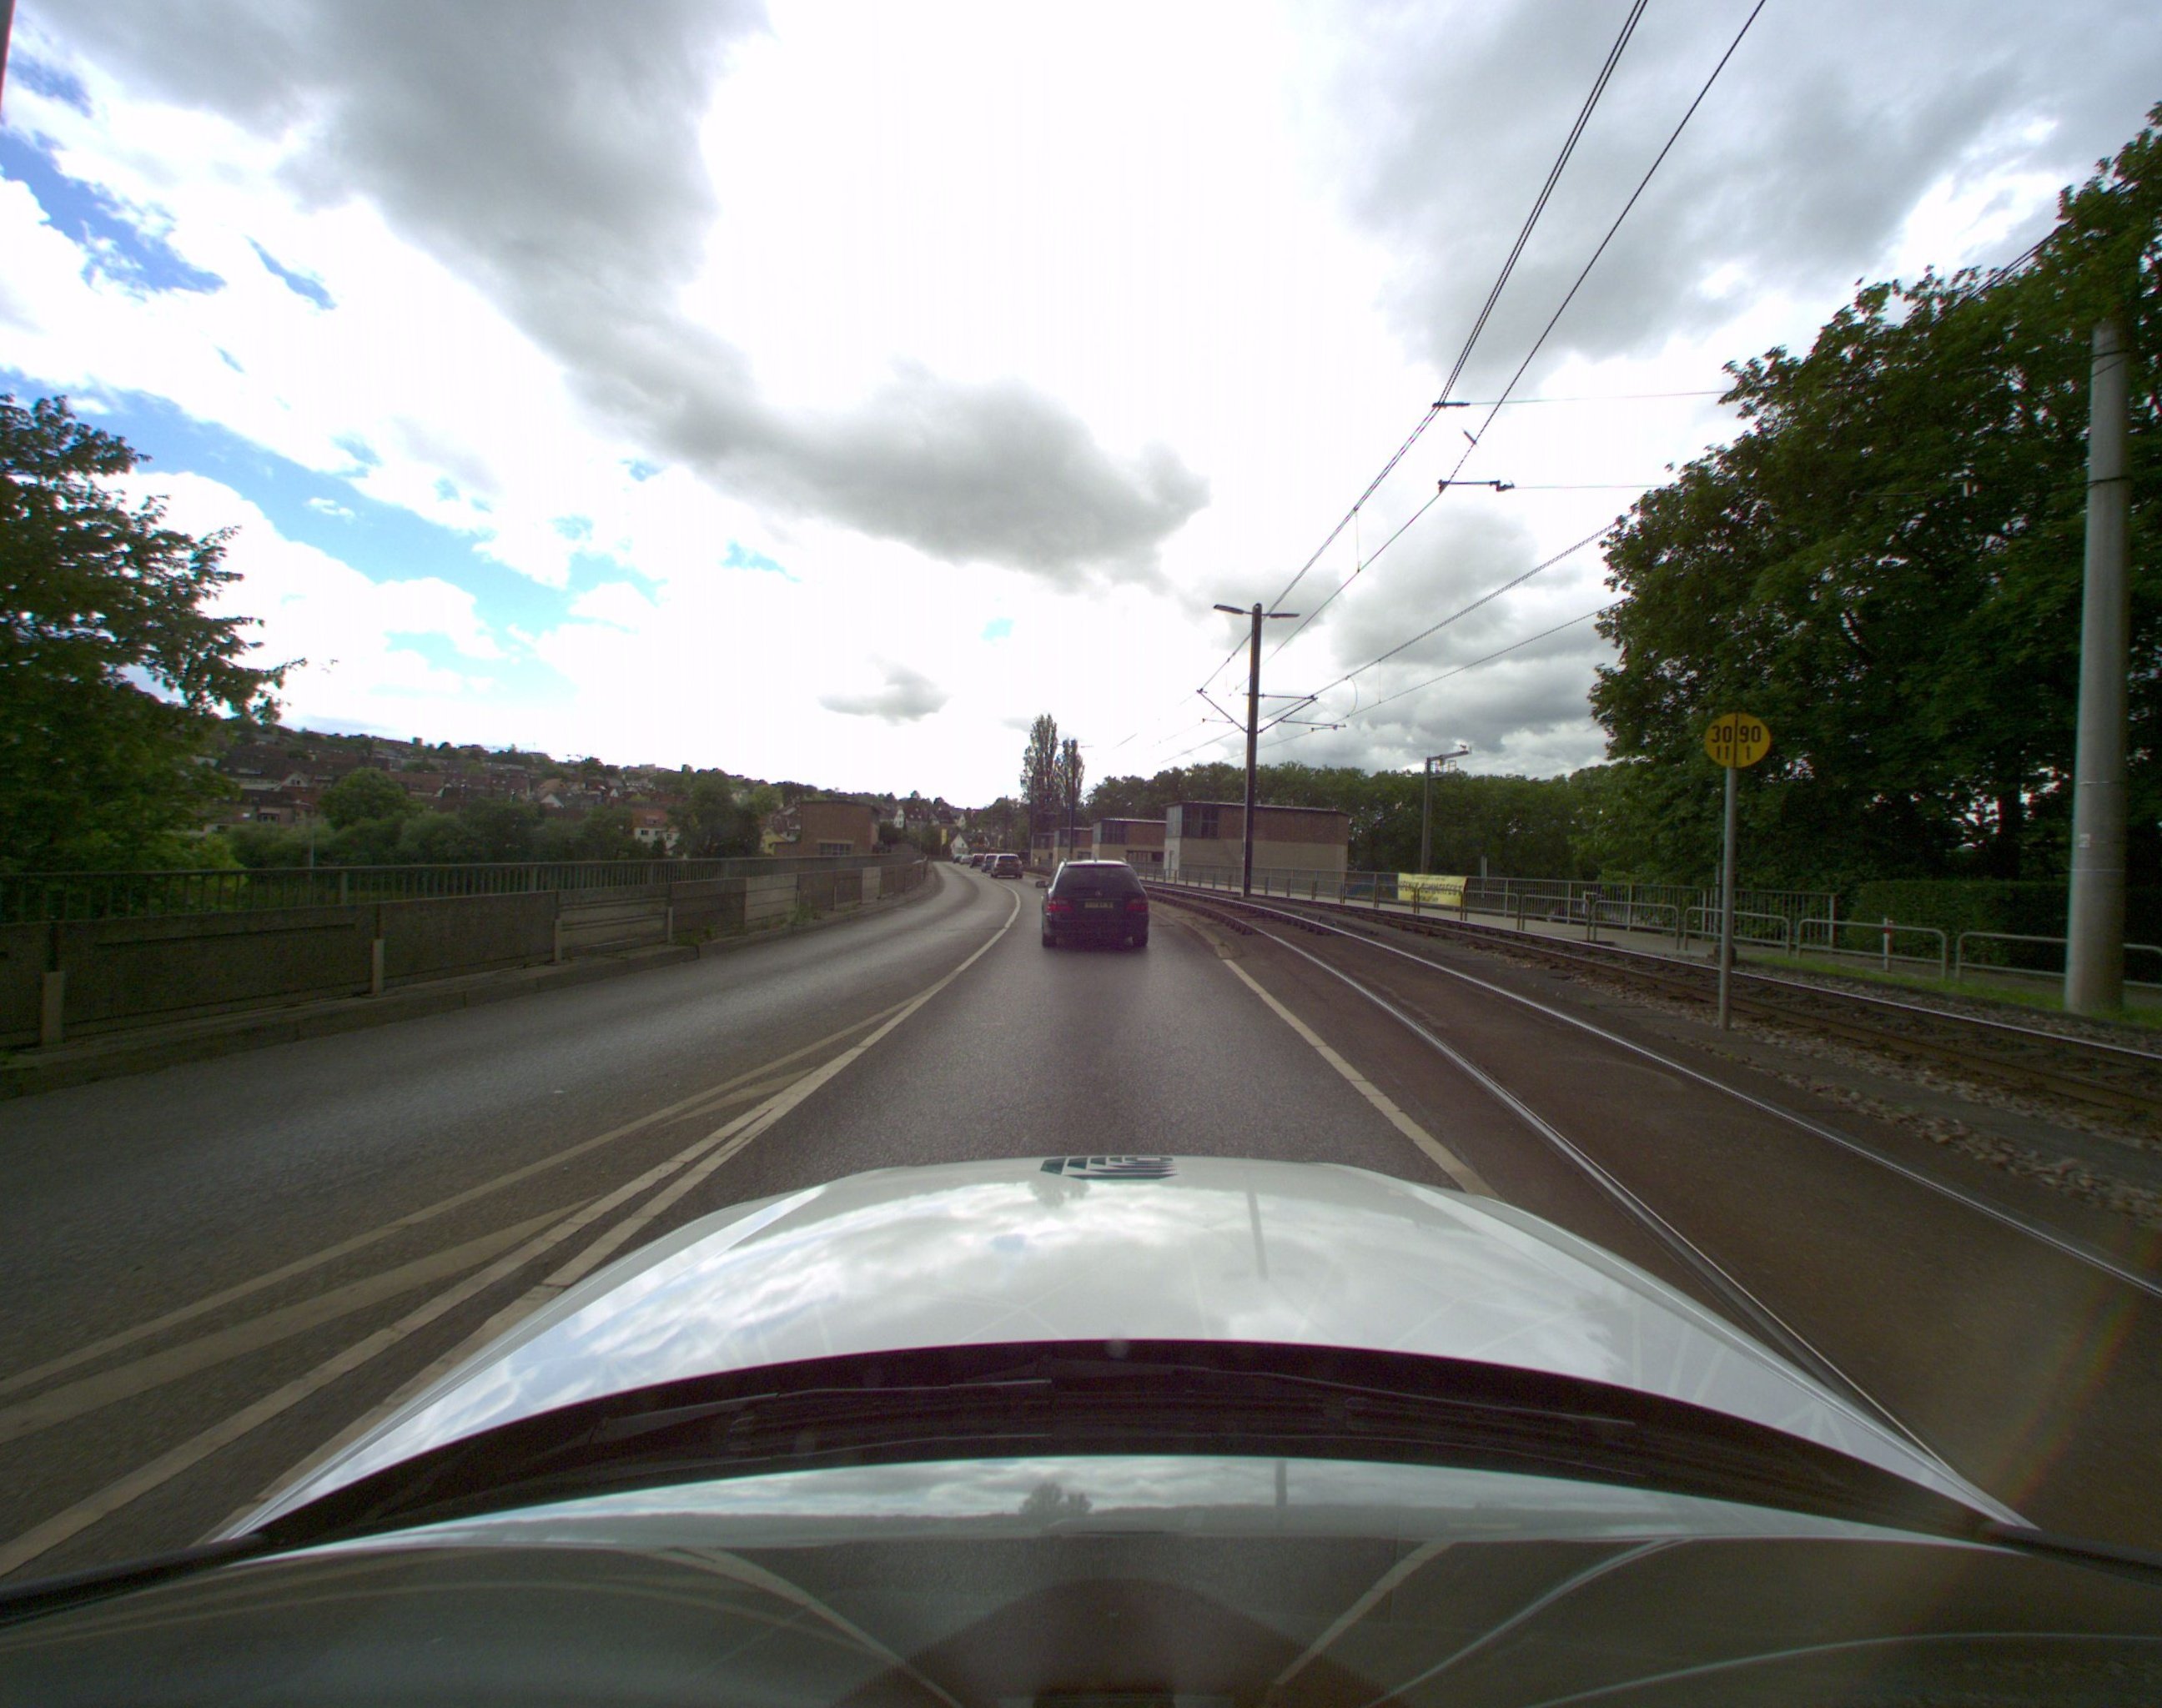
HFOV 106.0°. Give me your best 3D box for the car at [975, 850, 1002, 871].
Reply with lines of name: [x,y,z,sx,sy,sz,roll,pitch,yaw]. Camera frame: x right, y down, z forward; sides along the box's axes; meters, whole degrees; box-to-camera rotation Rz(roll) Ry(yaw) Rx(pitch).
car: [-7.533,0.494,65.932,1.992,1.564,4.983,-1,1,-8]

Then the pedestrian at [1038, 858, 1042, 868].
pedestrian: [-6.380,1.453,127.470,0.577,1.610,0.610,2,-1,-10]

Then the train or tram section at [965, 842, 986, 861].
train or tram section: [-20.477,-0.407,156.794,2.884,3.509,18.594,0,0,-11]

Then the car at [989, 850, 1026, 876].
car: [-4.683,0.553,51.184,1.772,1.555,4.222,2,0,-13]

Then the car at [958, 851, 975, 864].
car: [-15.539,0.430,110.142,1.993,1.571,4.888,2,0,-10]

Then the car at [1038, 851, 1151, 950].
car: [0.229,0.720,14.973,1.753,1.515,4.442,0,0,0]

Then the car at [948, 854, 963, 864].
car: [-20.787,0.854,134.725,1.995,1.571,4.884,2,0,-13]

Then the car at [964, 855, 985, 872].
car: [-11.067,0.996,84.473,1.993,1.672,4.525,0,1,-10]
